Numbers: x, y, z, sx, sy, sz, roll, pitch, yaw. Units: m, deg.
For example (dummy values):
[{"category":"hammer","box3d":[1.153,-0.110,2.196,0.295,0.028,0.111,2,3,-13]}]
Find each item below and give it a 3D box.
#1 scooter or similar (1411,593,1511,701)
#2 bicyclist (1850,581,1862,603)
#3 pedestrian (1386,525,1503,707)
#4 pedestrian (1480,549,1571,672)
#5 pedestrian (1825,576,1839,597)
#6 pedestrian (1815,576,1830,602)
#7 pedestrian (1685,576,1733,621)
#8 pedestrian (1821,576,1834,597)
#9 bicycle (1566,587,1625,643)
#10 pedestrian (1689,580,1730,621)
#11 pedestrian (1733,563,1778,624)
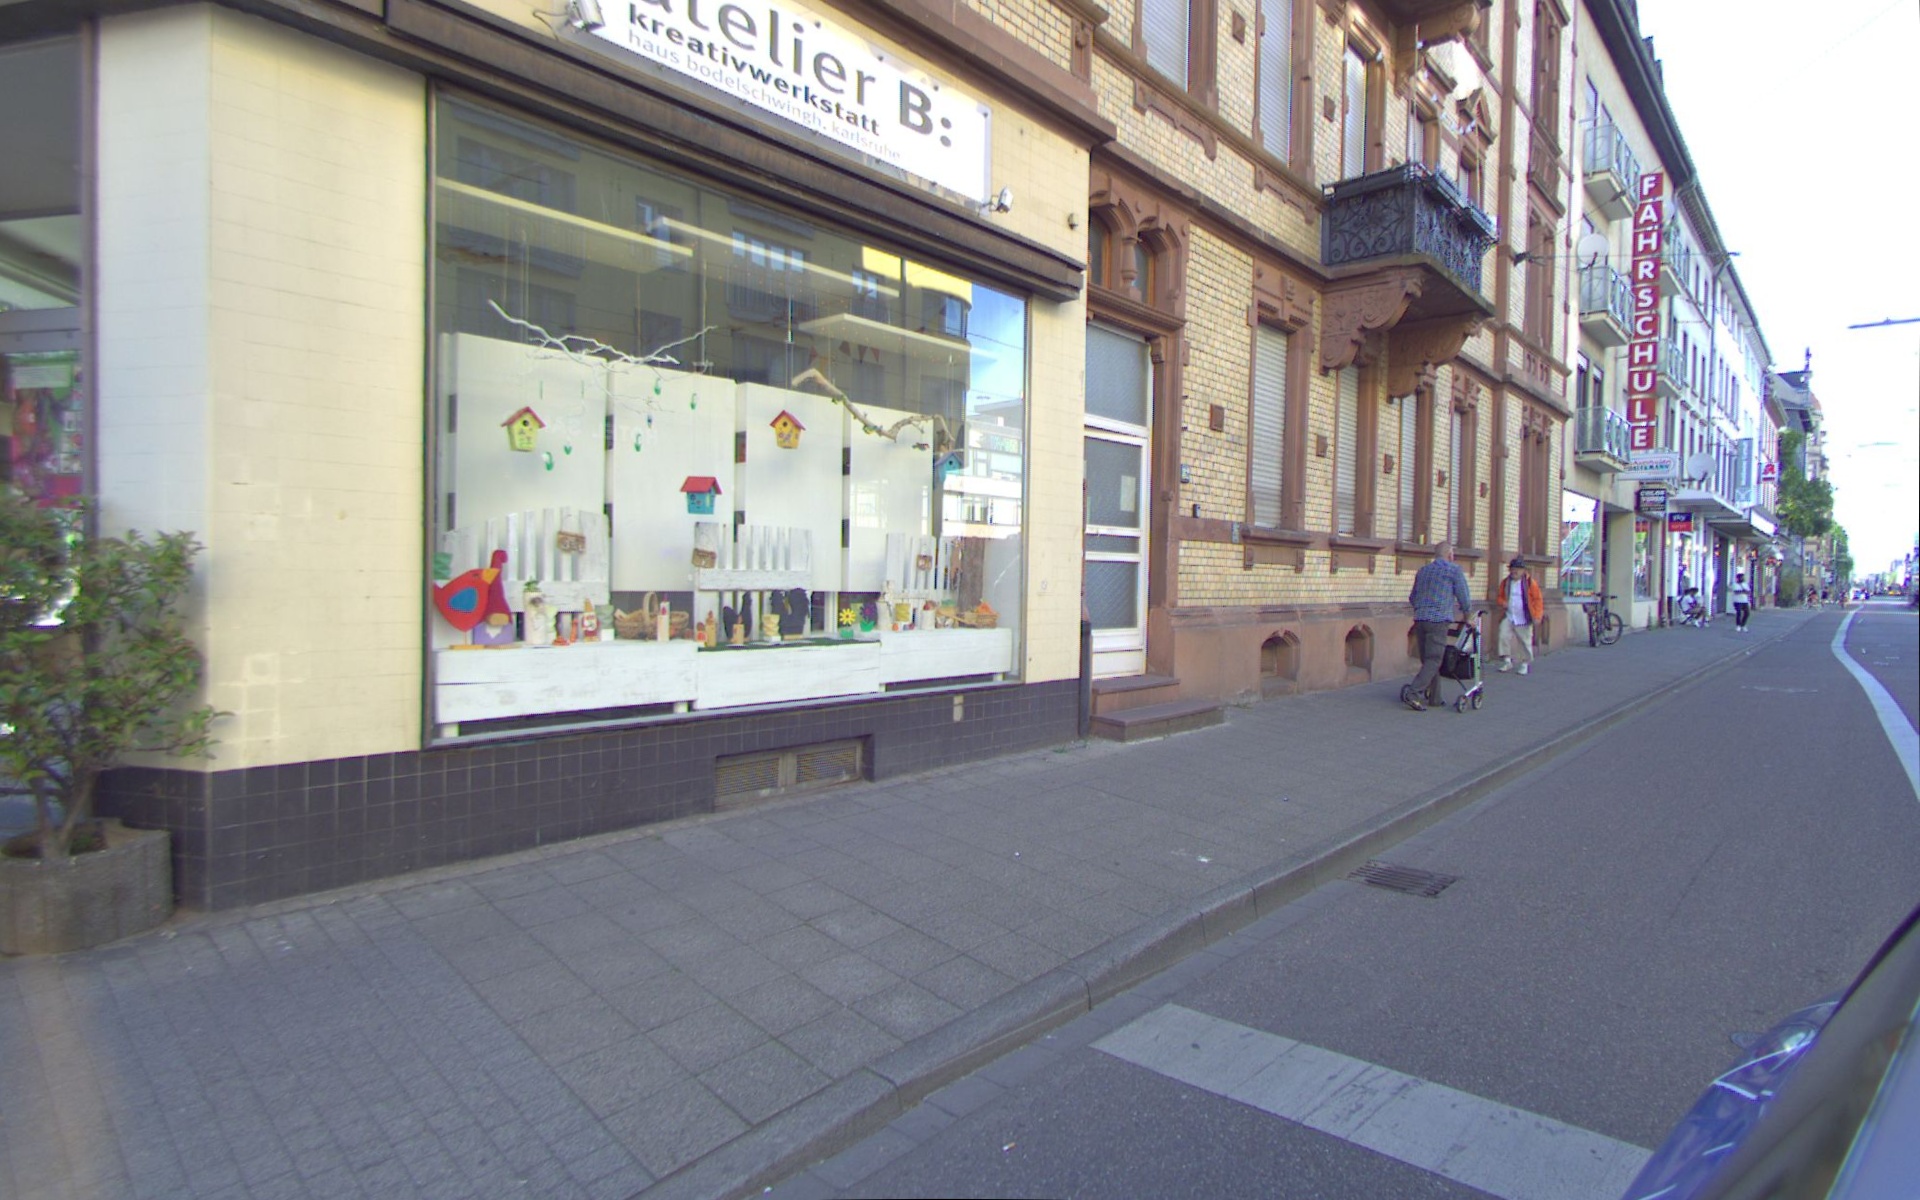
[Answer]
[{"category":"scooter or similar","box3d":[5.614,0.506,11.352,0.806,1.082,0.513,8,6,43]},{"category":"bicyclist","box3d":[67.945,-0.618,76.750,0.675,1.634,0.825,1,1,41]},{"category":"pedestrian","box3d":[5.199,0.148,10.867,0.806,1.821,0.750,7,5,43]},{"category":"pedestrian","box3d":[8.166,0.141,14.616,0.799,1.646,0.812,9,5,44]},{"category":"pedestrian","box3d":[73.666,-1.150,85.488,0.805,1.822,0.750,2,2,43]},{"category":"pedestrian","box3d":[62.008,-0.794,72.755,0.685,1.793,0.694,0,2,-42]},{"category":"pedestrian","box3d":[23.484,-0.059,31.732,0.817,1.270,0.706,6,5,8]},{"category":"pedestrian","box3d":[64.905,-1.022,75.706,0.647,1.598,0.674,2,1,36]},{"category":"bicycle","box3d":[13.157,0.281,20.920,0.555,1.073,2.275,5,4,43]},{"category":"pedestrian","box3d":[24.096,0.011,32.544,0.700,1.188,1.008,7,5,23]},{"category":"pedestrian","box3d":[25.132,-0.204,31.975,0.666,1.833,0.708,2,5,-32]}]
